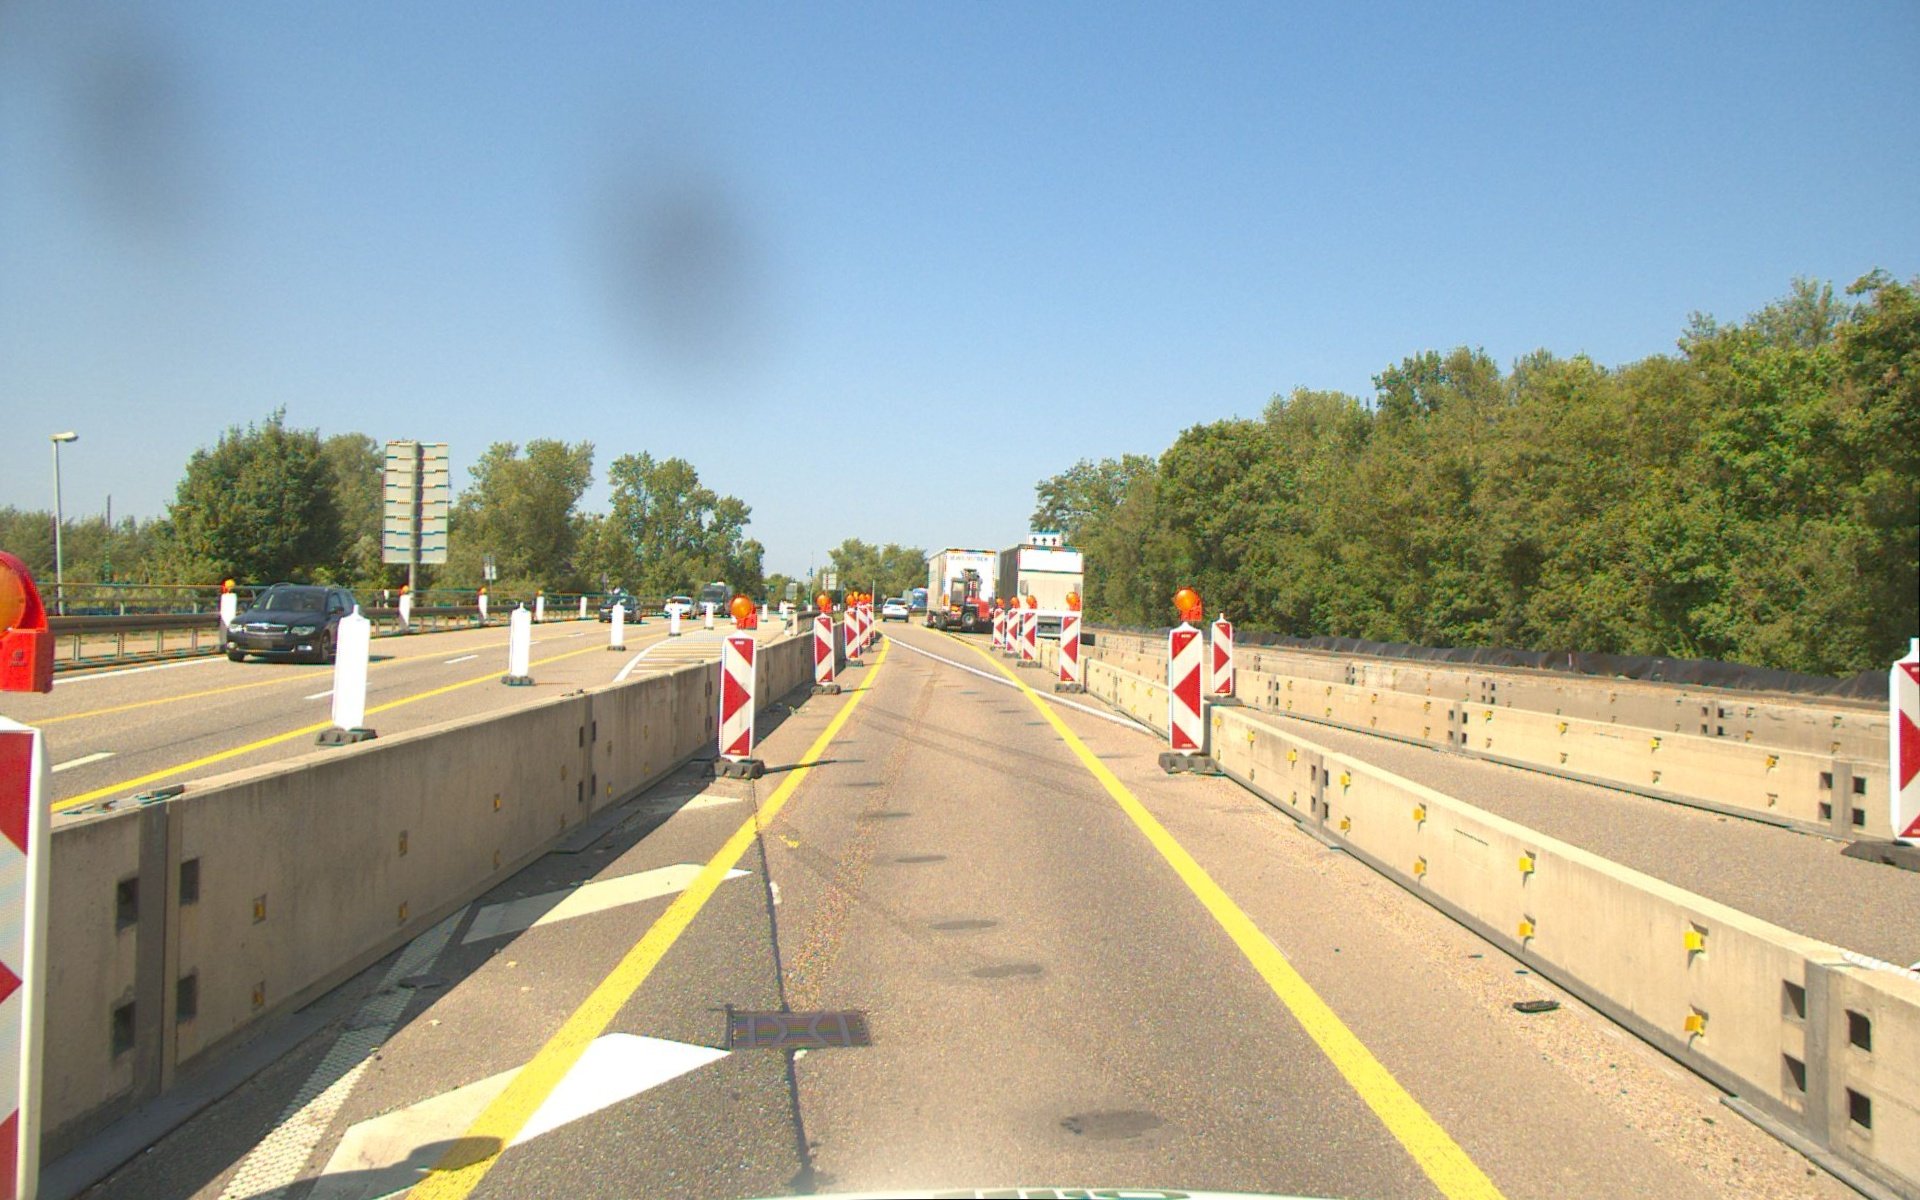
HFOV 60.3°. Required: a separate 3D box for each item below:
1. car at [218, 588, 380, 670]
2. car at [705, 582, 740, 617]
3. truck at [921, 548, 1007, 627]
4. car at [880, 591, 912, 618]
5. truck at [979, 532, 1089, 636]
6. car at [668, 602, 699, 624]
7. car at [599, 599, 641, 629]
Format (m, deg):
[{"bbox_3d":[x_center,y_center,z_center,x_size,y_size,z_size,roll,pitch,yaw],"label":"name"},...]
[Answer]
[{"bbox_3d":[-12.921,0.526,32.652,1.635,1.467,4.990,1,0,-6],"label":"car"},{"bbox_3d":[-18.566,-0.033,129.315,2.103,2.707,5.544,1,0,-2],"label":"car"},{"bbox_3d":[0.121,-0.611,83.501,3.325,3.840,7.219,0,0,-8],"label":"truck"},{"bbox_3d":[-4.425,0.328,113.806,1.783,1.807,3.992,0,0,-8],"label":"car"},{"bbox_3d":[2.524,-0.559,58.995,2.585,3.487,7.219,0,0,-8],"label":"truck"},{"bbox_3d":[-18.672,0.884,111.695,1.685,1.421,4.515,2,0,-5],"label":"car"},{"bbox_3d":[-17.622,0.684,85.840,1.704,1.502,4.639,0,0,-6],"label":"car"}]
